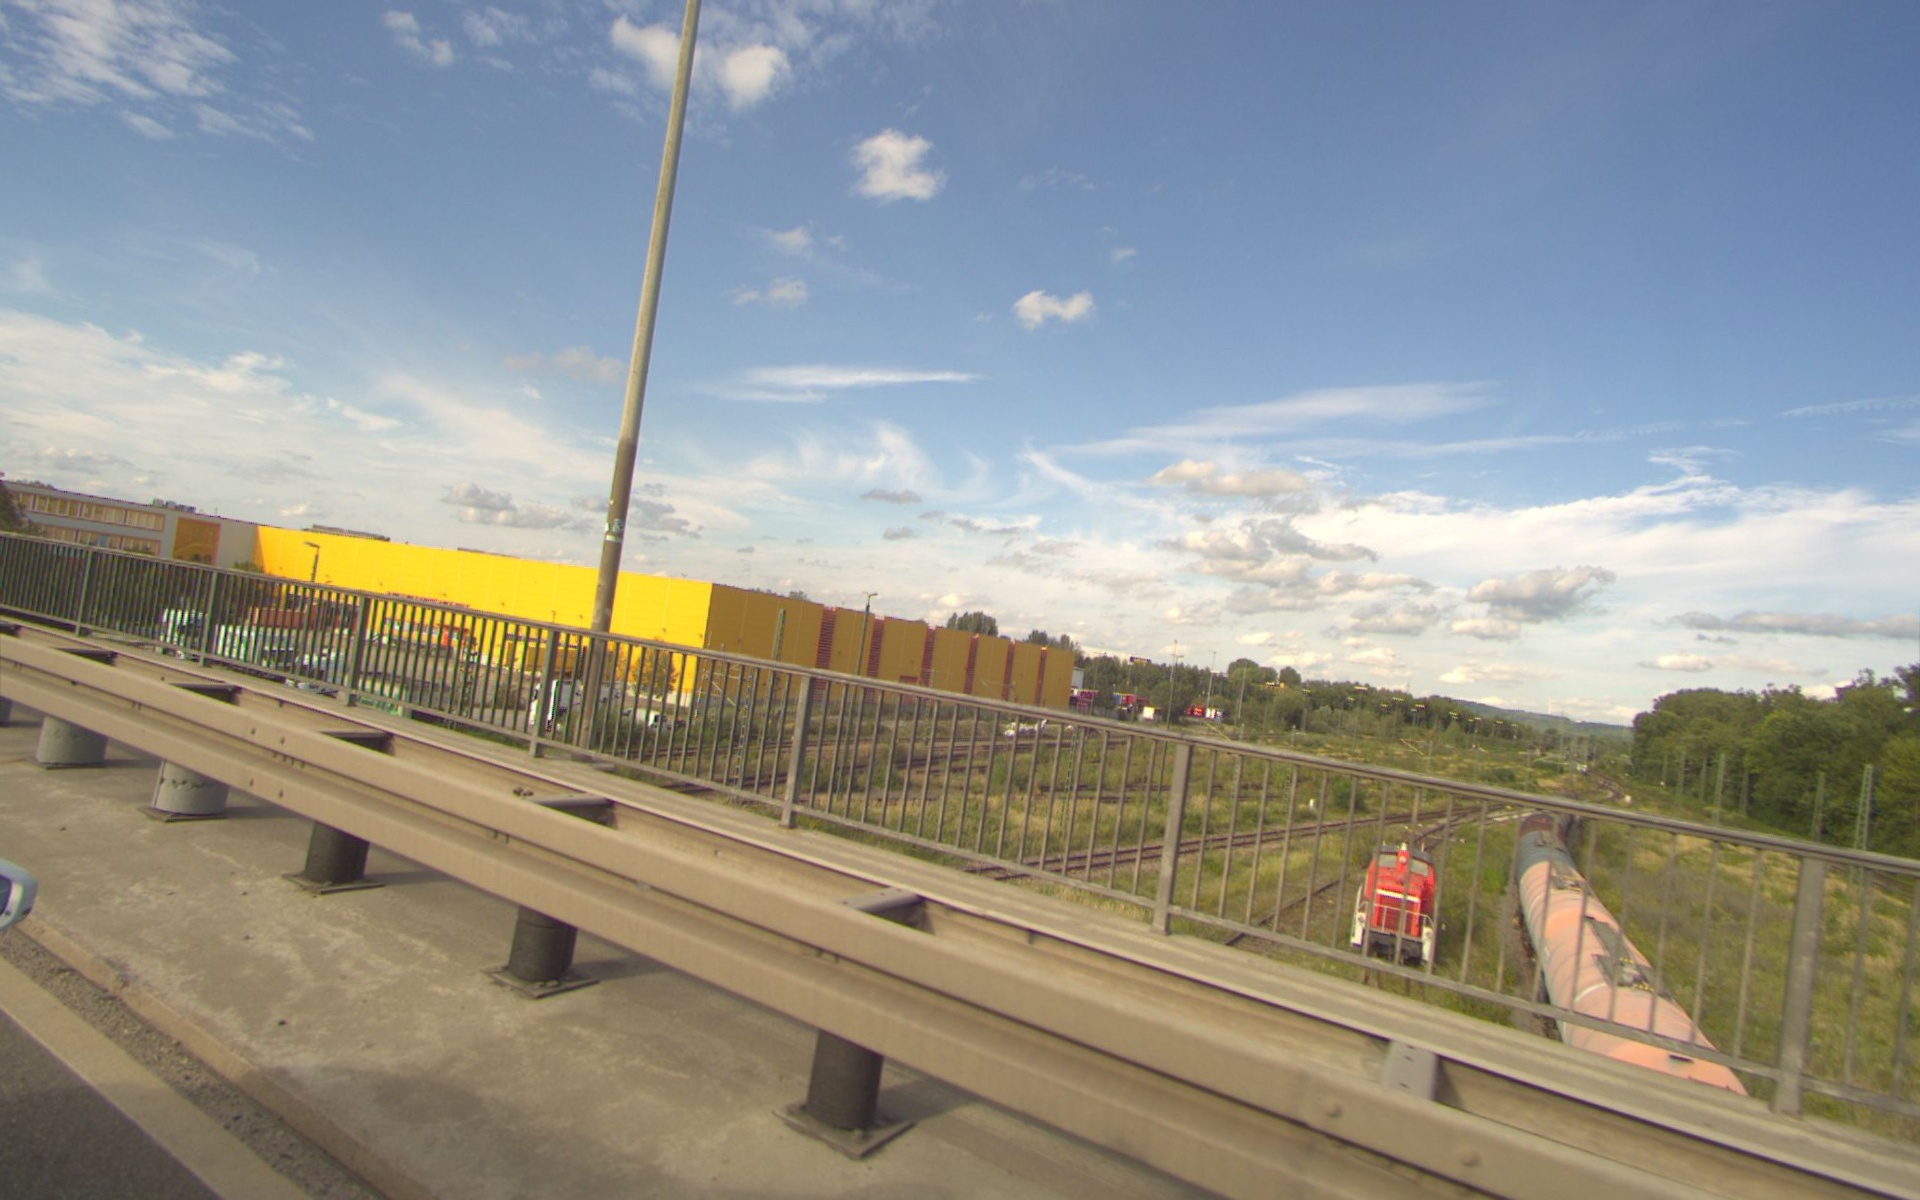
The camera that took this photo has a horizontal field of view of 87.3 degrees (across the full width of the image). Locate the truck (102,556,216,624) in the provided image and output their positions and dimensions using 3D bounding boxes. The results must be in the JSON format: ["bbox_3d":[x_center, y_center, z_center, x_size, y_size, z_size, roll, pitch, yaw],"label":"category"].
[{"bbox_3d":[-72.464,-0.963,90.927,11.082,4.914,3.637,6,0,28],"label":"truck"}]

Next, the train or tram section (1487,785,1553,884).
[{"bbox_3d":[40.183,16.533,72.622,3.043,4.765,16.746,6,-3,27],"label":"train or tram section"}]

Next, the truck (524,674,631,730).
[{"bbox_3d":[-28.803,7.679,76.104,2.621,3.661,7.224,8,0,29],"label":"truck"}]

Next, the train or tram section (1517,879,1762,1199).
[{"bbox_3d":[17.846,11.911,27.892,3.042,4.768,16.736,6,-1,27],"label":"train or tram section"}]

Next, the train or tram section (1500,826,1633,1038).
[{"bbox_3d":[25.274,13.264,42.829,3.042,4.767,16.740,6,-2,27],"label":"train or tram section"}]

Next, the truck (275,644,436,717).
[{"bbox_3d":[-39.613,5.333,66.337,2.621,4.140,8.608,8,0,29],"label":"truck"}]

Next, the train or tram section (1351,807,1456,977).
[{"bbox_3d":[21.295,13.099,47.498,3.043,4.194,17.286,6,-1,28],"label":"train or tram section"}]

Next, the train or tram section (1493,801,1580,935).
[{"bbox_3d":[32.734,14.849,57.769,3.043,4.765,16.746,6,-3,27],"label":"train or tram section"}]
